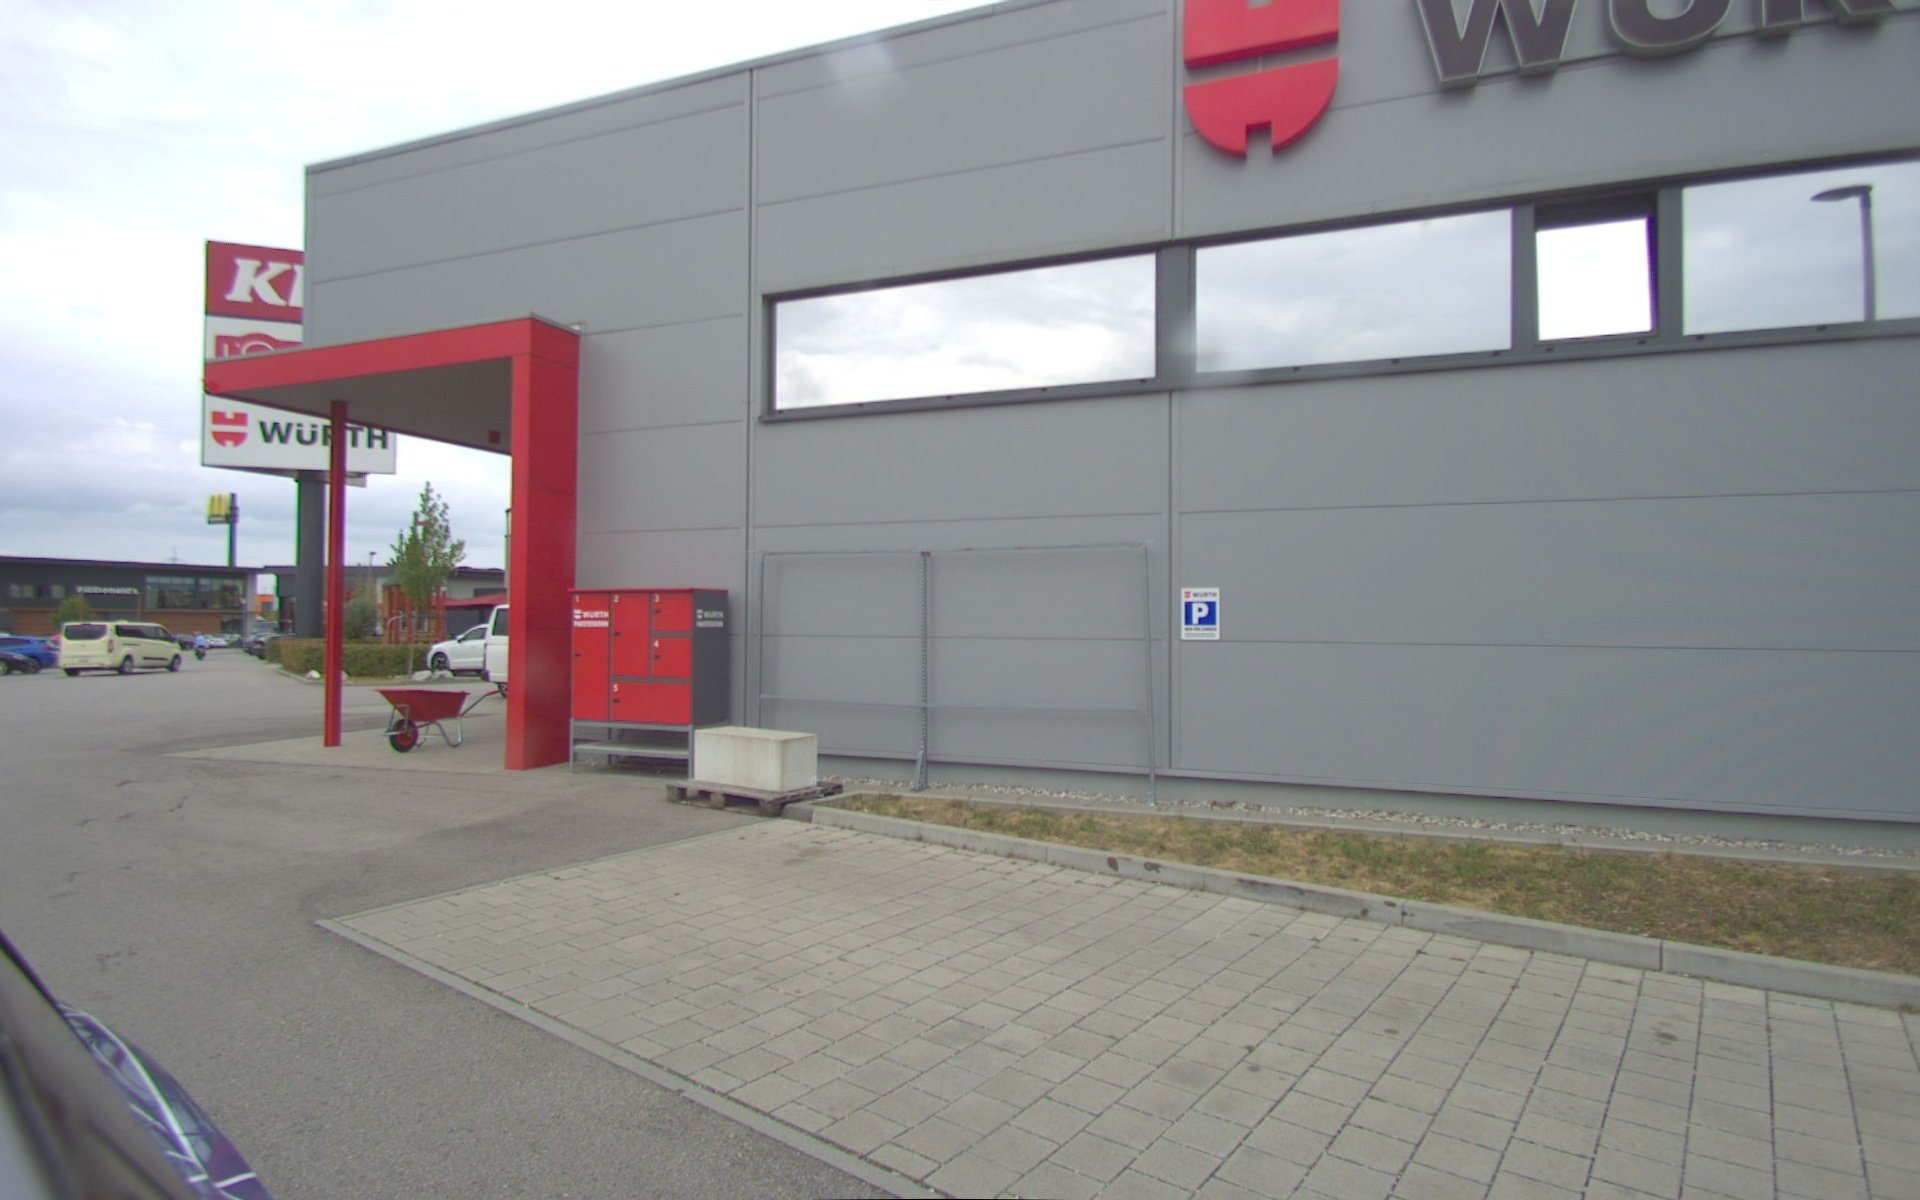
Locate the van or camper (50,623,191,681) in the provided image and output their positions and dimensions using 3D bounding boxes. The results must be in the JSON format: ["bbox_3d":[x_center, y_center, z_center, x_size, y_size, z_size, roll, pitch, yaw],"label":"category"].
[{"bbox_3d":[-32.542,1.986,39.453,1.829,2.077,5.245,0,-2,-10],"label":"van or camper"}]

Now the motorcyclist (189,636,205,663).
[{"bbox_3d":[-46.643,3.021,61.853,0.742,1.651,1.040,1,-2,-38],"label":"motorcyclist"}]

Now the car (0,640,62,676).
[{"bbox_3d":[-39.404,2.388,41.338,3.936,1.431,1.814,1,-2,-39],"label":"car"}]

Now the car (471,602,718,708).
[{"bbox_3d":[-7.590,1.112,21.066,4.722,2.029,1.925,-1,-2,20],"label":"car"}]

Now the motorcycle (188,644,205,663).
[{"bbox_3d":[-46.614,3.255,61.793,0.803,1.083,2.154,1,-3,-38],"label":"motorcycle"}]

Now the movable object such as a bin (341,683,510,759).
[{"bbox_3d":[-6.082,1.352,11.615,0.798,0.721,1.573,-1,-2,22],"label":"movable object such as a bin"}]

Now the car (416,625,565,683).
[{"bbox_3d":[-15.254,1.734,32.876,4.713,1.762,1.744,-1,-2,24],"label":"car"}]

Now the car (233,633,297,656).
[{"bbox_3d":[-58.153,3.682,84.717,1.997,1.852,3.949,-2,-2,38],"label":"car"}]

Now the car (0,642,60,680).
[{"bbox_3d":[-37.718,2.388,39.348,3.936,1.431,1.814,1,-2,-39],"label":"car"}]

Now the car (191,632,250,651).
[{"bbox_3d":[-68.222,3.837,93.447,3.936,1.674,2.004,0,-2,-8],"label":"car"}]

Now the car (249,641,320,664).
[{"bbox_3d":[-41.407,3.226,62.080,1.499,1.305,3.395,-2,-2,42],"label":"car"}]

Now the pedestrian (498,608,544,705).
[{"bbox_3d":[-8.681,1.111,20.018,0.620,1.870,0.585,-1,-2,17],"label":"pedestrian"}]
